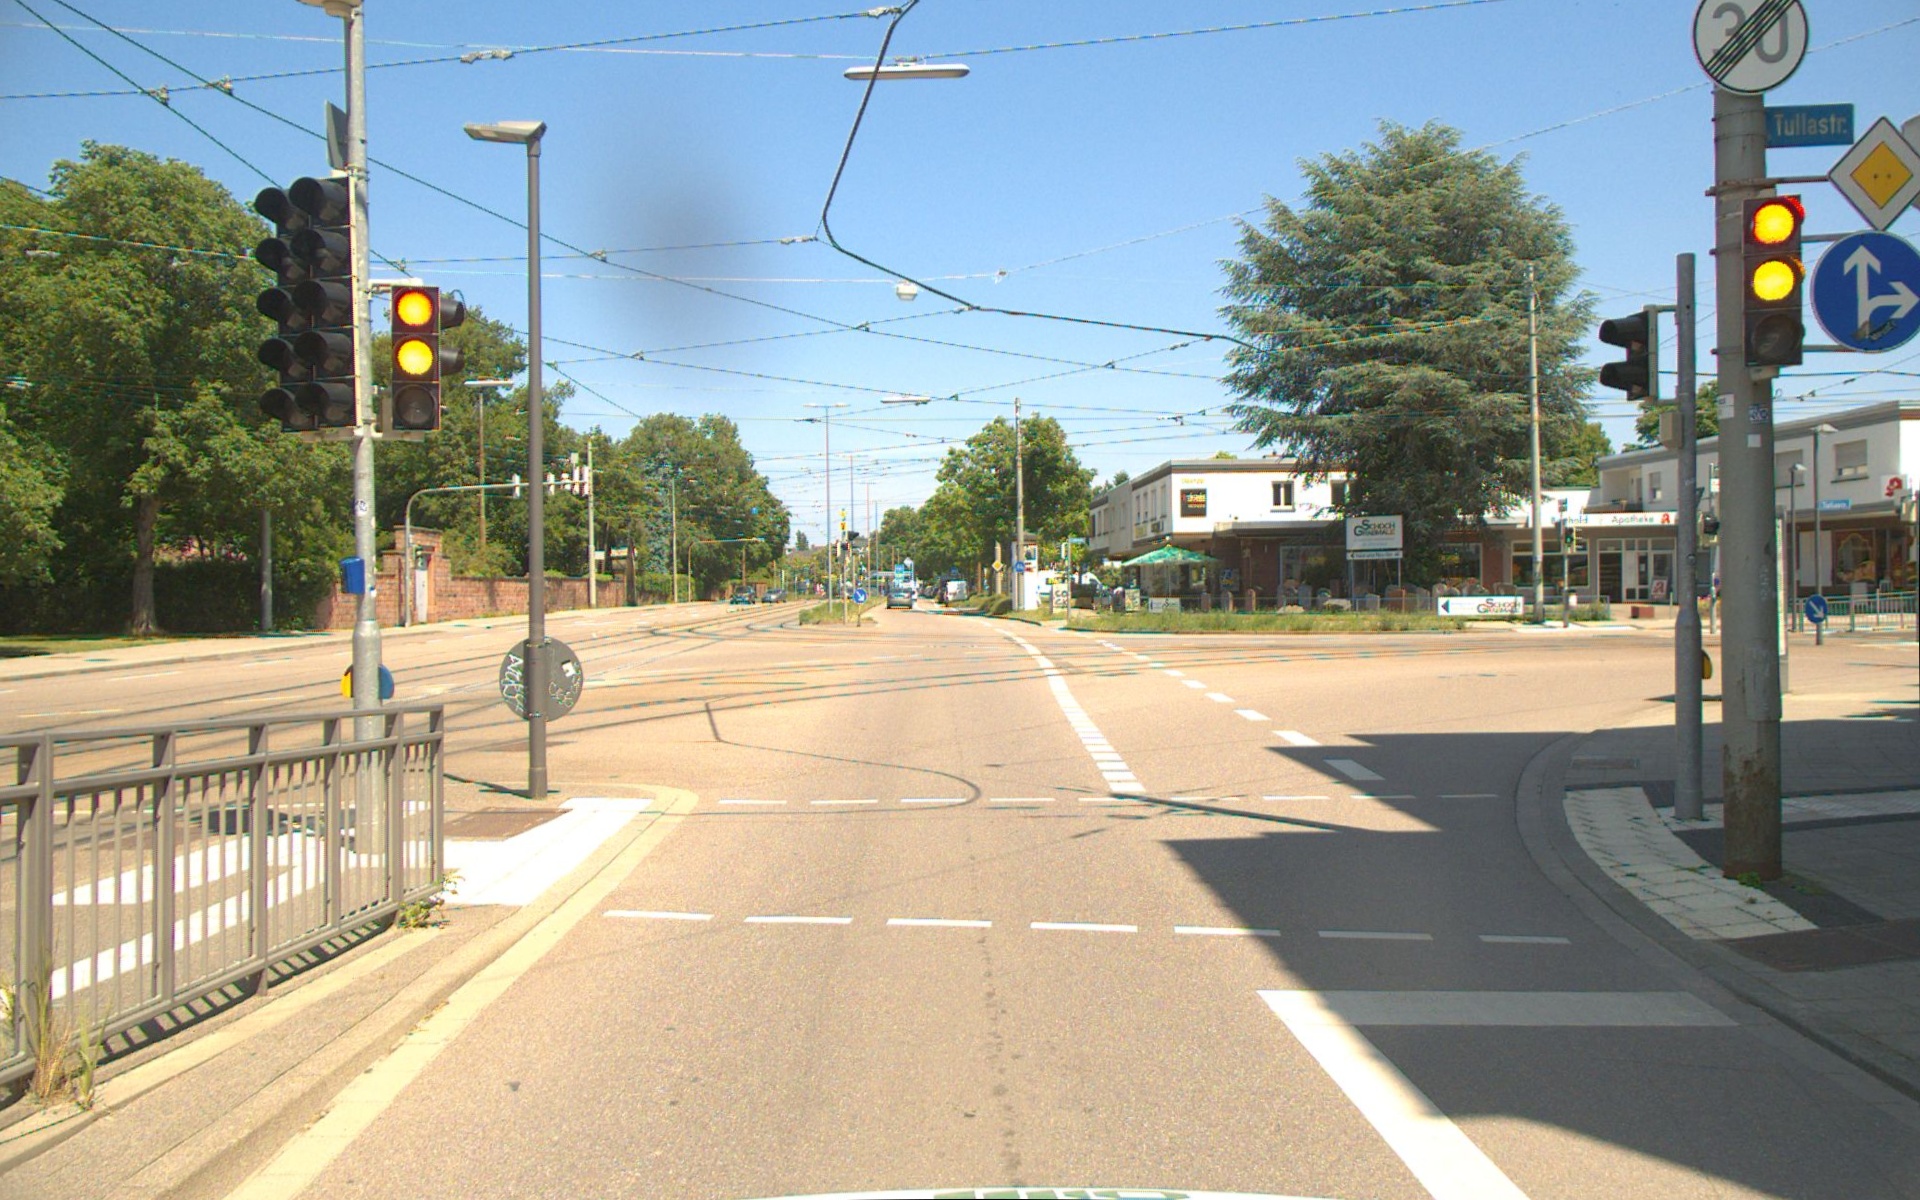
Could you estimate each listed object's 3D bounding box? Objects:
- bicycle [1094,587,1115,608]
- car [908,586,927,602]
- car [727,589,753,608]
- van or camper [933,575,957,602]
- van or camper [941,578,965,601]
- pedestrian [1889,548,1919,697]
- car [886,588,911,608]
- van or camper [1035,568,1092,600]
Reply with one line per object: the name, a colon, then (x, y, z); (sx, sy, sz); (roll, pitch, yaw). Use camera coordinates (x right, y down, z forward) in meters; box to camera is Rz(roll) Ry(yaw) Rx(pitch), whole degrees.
bicycle: (7.394, -0.127, 84.605); (1.012, 1.032, 2.639); (-1, 0, 5)
car: (-4.053, -0.561, 158.867); (1.636, 1.460, 3.475); (-1, 0, 2)
car: (-20.195, -0.141, 151.800); (1.783, 1.631, 4.519); (-1, 0, 0)
van or camper: (-1.380, -1.069, 152.822); (1.954, 2.507, 3.997); (-1, 0, -4)
van or camper: (-0.564, -0.835, 130.365); (1.883, 1.803, 3.999); (-1, 0, -1)
pedestrian: (10.751, 0.224, 17.994); (0.809, 1.611, 0.827); (-2, 0, 5)
car: (-4.266, -0.162, 113.919); (1.604, 1.375, 3.839); (-1, 0, -4)
van or camper: (8.945, -1.366, 143.538); (4.662, 2.717, 2.134); (-1, 0, -3)
